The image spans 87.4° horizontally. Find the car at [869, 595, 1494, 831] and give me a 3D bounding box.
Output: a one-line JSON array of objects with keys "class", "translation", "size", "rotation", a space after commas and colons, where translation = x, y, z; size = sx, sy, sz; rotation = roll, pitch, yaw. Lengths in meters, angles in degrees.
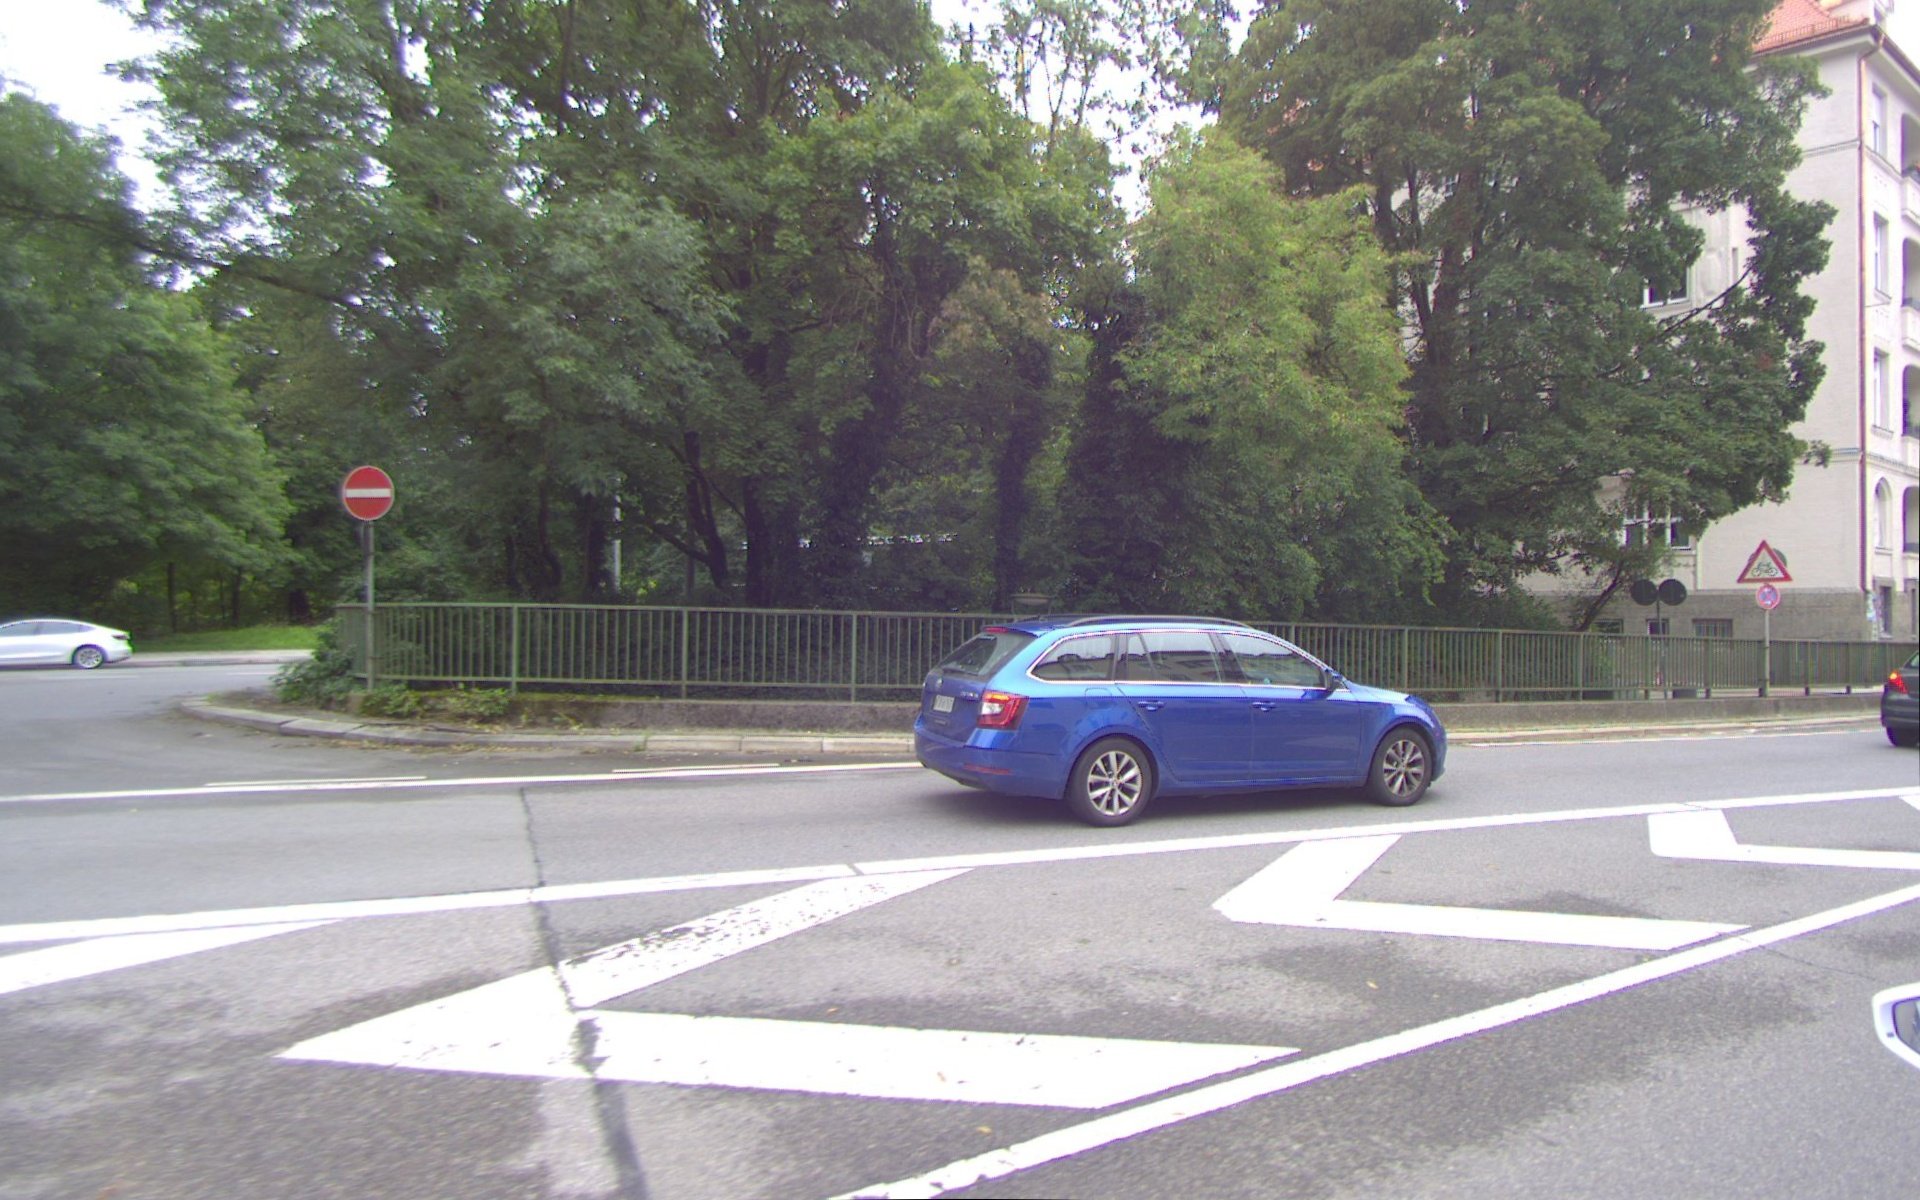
[{"class": "car", "translation": [1.787, 0.768, 8.124], "size": [4.666, 1.473, 1.983], "rotation": [1, -2, -23]}]

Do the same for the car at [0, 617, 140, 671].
[{"class": "car", "translation": [-26.067, 1.241, 28.382], "size": [4.390, 1.465, 1.976], "rotation": [2, -3, -42]}]

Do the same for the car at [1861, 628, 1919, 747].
[{"class": "car", "translation": [13.929, 1.121, 13.122], "size": [4.018, 1.480, 1.754], "rotation": [1, -2, -25]}]
